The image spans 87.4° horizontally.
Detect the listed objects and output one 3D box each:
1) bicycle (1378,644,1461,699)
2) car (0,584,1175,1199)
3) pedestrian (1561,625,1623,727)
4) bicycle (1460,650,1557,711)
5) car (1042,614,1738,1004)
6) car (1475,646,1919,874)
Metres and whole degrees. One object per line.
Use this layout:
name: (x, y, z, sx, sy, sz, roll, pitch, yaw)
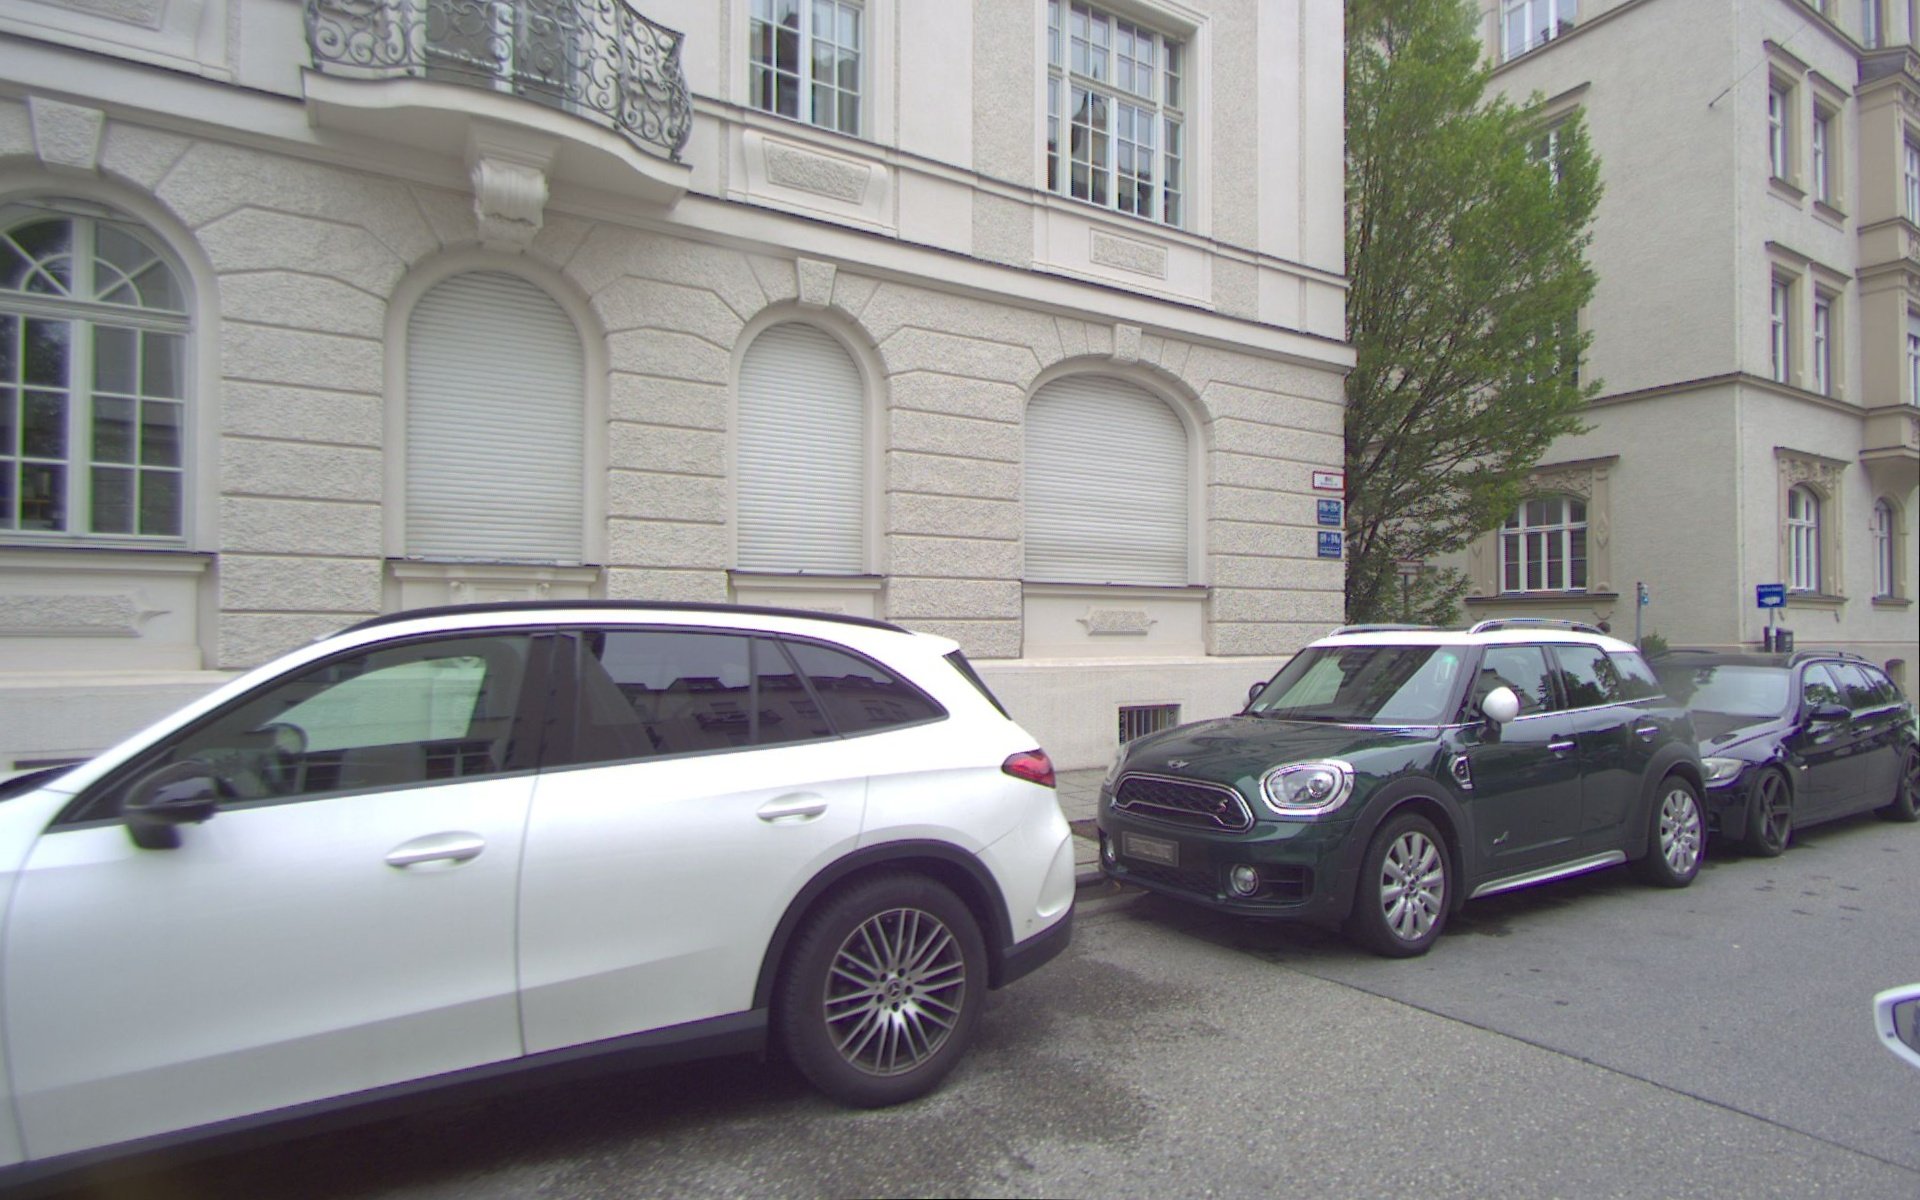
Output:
bicycle: (9.680, 1.486, 21.133, 1.883, 1.017, 0.582, -1, 1, -29)
car: (-1.627, 0.819, 3.370, 4.517, 1.640, 1.906, 1, -2, -30)
pedestrian: (10.546, 1.251, 16.772, 0.624, 1.647, 0.669, 1, -2, -33)
bicycle: (10.536, 1.525, 19.281, 1.984, 0.973, 0.691, -2, 3, -29)
car: (2.725, 0.923, 6.119, 4.196, 1.640, 1.827, 1, -2, -32)
car: (6.522, 1.156, 8.610, 4.317, 1.431, 1.778, 1, -2, -32)
